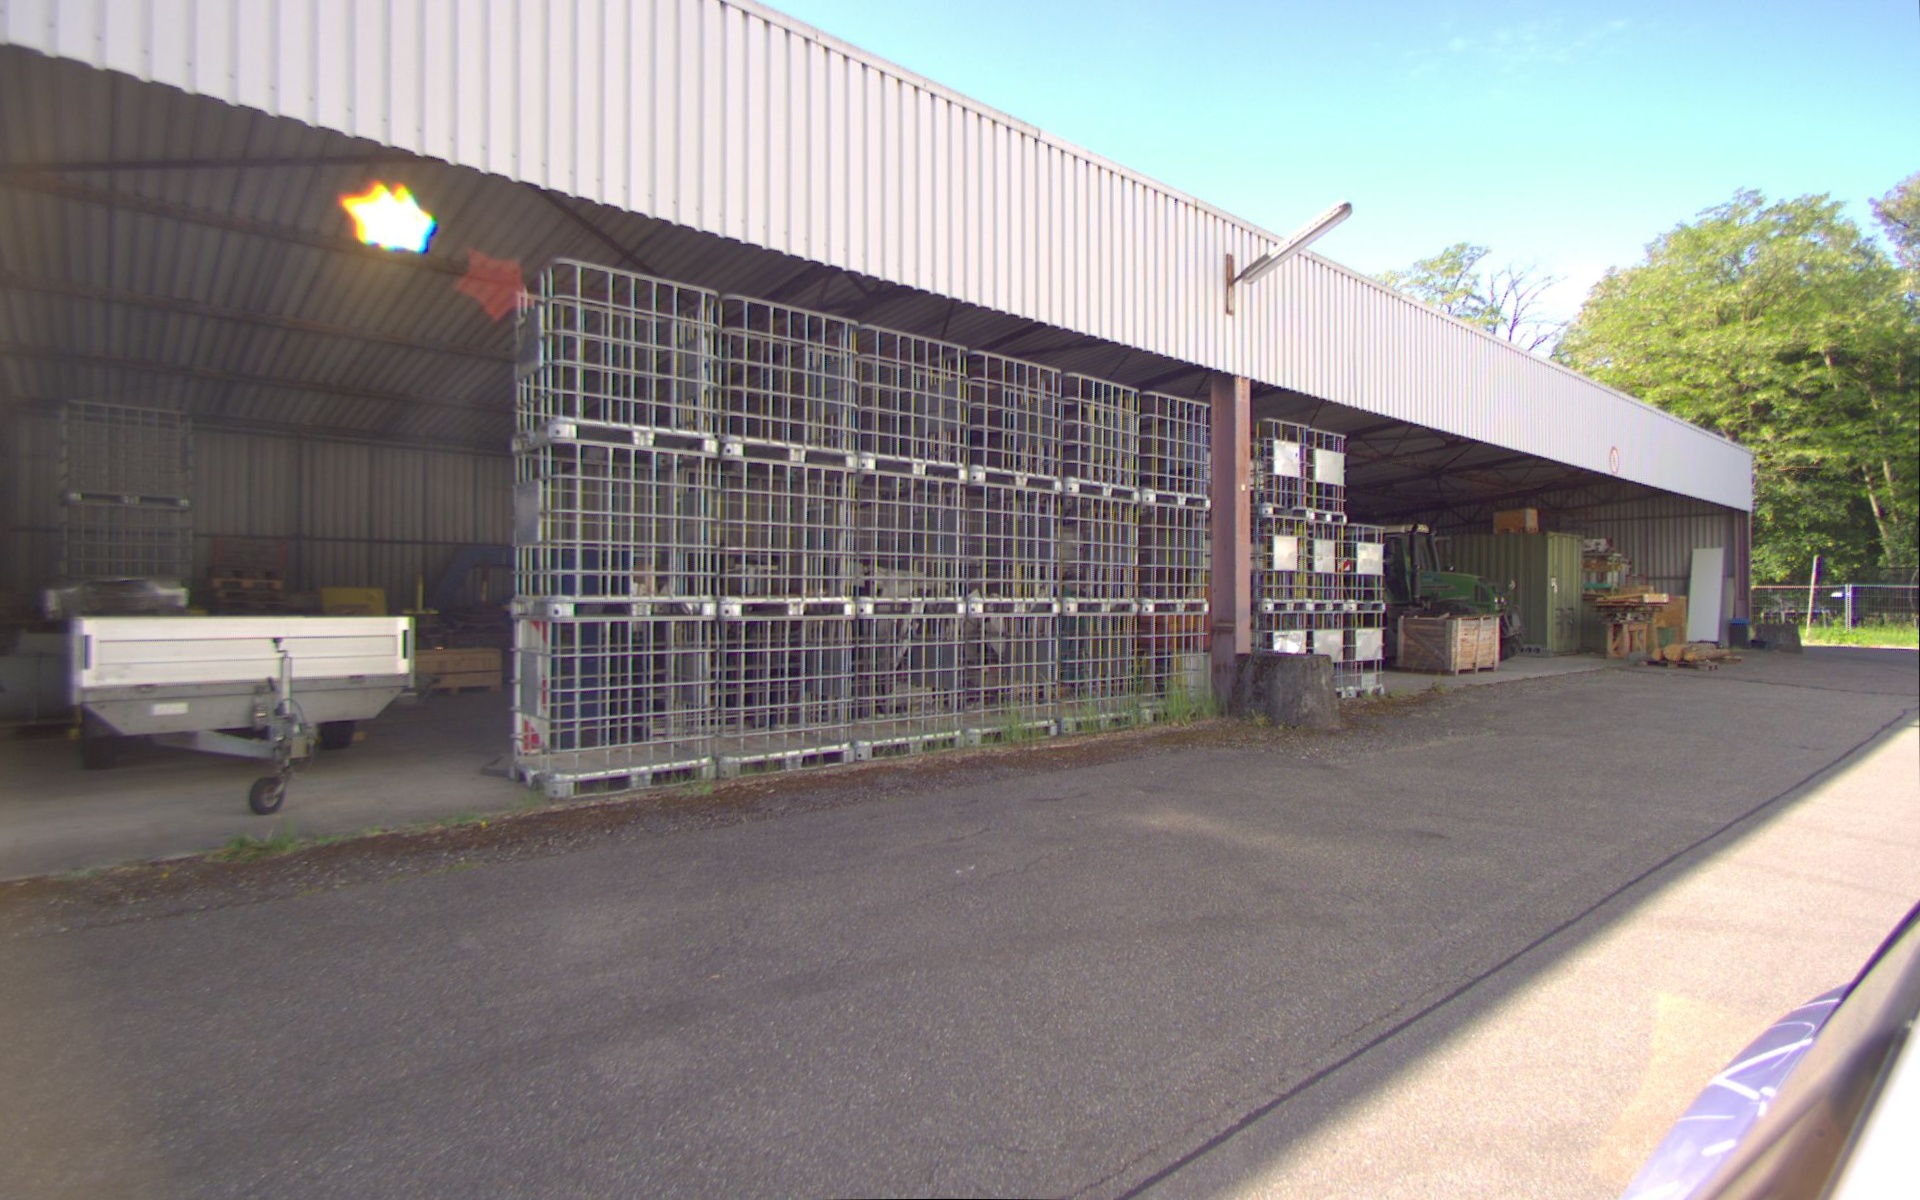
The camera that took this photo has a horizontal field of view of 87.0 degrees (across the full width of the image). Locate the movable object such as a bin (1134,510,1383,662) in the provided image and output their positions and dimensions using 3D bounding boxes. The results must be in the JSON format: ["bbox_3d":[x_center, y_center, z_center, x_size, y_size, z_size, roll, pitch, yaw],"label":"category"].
[{"bbox_3d":[6.267,-0.276,21.666,2.453,2.866,4.535,1,0,-40],"label":"movable object such as a bin"}]

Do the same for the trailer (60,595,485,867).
[{"bbox_3d":[-5.523,0.619,7.685,1.940,1.200,5.737,-1,2,-42],"label":"trailer"}]

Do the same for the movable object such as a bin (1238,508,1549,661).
[{"bbox_3d":[9.550,-0.319,22.767,2.770,2.962,5.845,0,0,-40],"label":"movable object such as a bin"}]
